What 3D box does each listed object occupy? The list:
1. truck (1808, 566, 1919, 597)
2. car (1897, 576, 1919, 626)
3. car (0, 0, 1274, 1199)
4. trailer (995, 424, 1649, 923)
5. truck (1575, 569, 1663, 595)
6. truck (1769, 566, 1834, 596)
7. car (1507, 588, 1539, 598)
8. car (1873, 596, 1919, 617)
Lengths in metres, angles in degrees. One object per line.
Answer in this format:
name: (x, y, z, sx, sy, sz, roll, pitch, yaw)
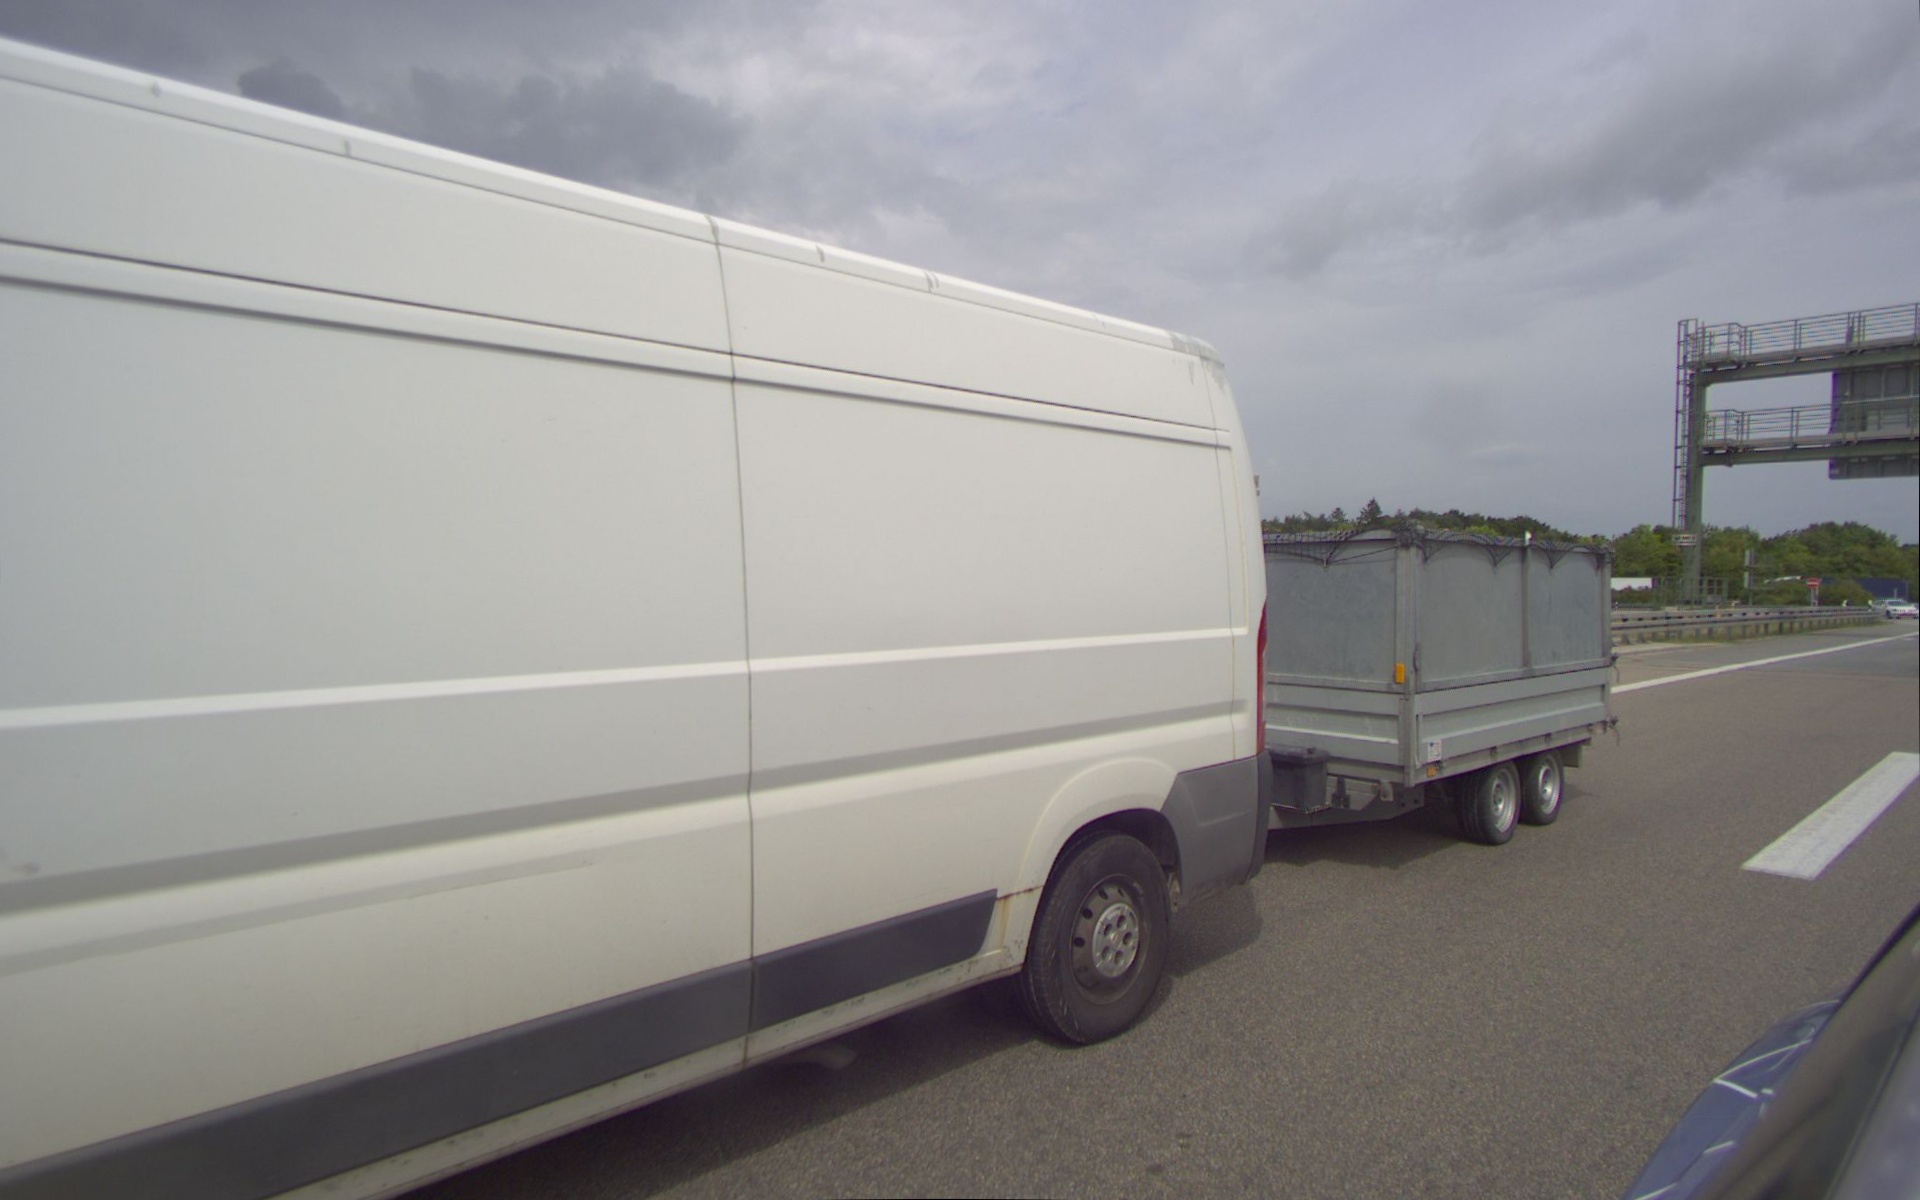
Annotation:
truck: (116.772, -2.347, 130.532, 11.586, 3.907, 2.843, 0, 0, 6)
car: (35.822, 0.021, 37.027, 3.931, 1.768, 1.860, -1, 0, -42)
car: (-1.799, 0.148, 2.644, 6.043, 2.485, 2.118, 0, 0, -41)
trailer: (2.512, 0.279, 6.333, 4.550, 2.039, 1.858, 0, 0, -41)
truck: (90.337, -2.448, 139.024, 9.775, 3.446, 2.671, 0, 0, 26)
truck: (109.192, -2.459, 131.354, 5.824, 3.851, 2.897, 0, 0, 6)
car: (80.235, -0.974, 144.278, 3.964, 1.418, 1.543, 0, 0, 29)
car: (71.987, 0.464, 77.328, 1.704, 1.560, 4.454, 0, 0, 20)
